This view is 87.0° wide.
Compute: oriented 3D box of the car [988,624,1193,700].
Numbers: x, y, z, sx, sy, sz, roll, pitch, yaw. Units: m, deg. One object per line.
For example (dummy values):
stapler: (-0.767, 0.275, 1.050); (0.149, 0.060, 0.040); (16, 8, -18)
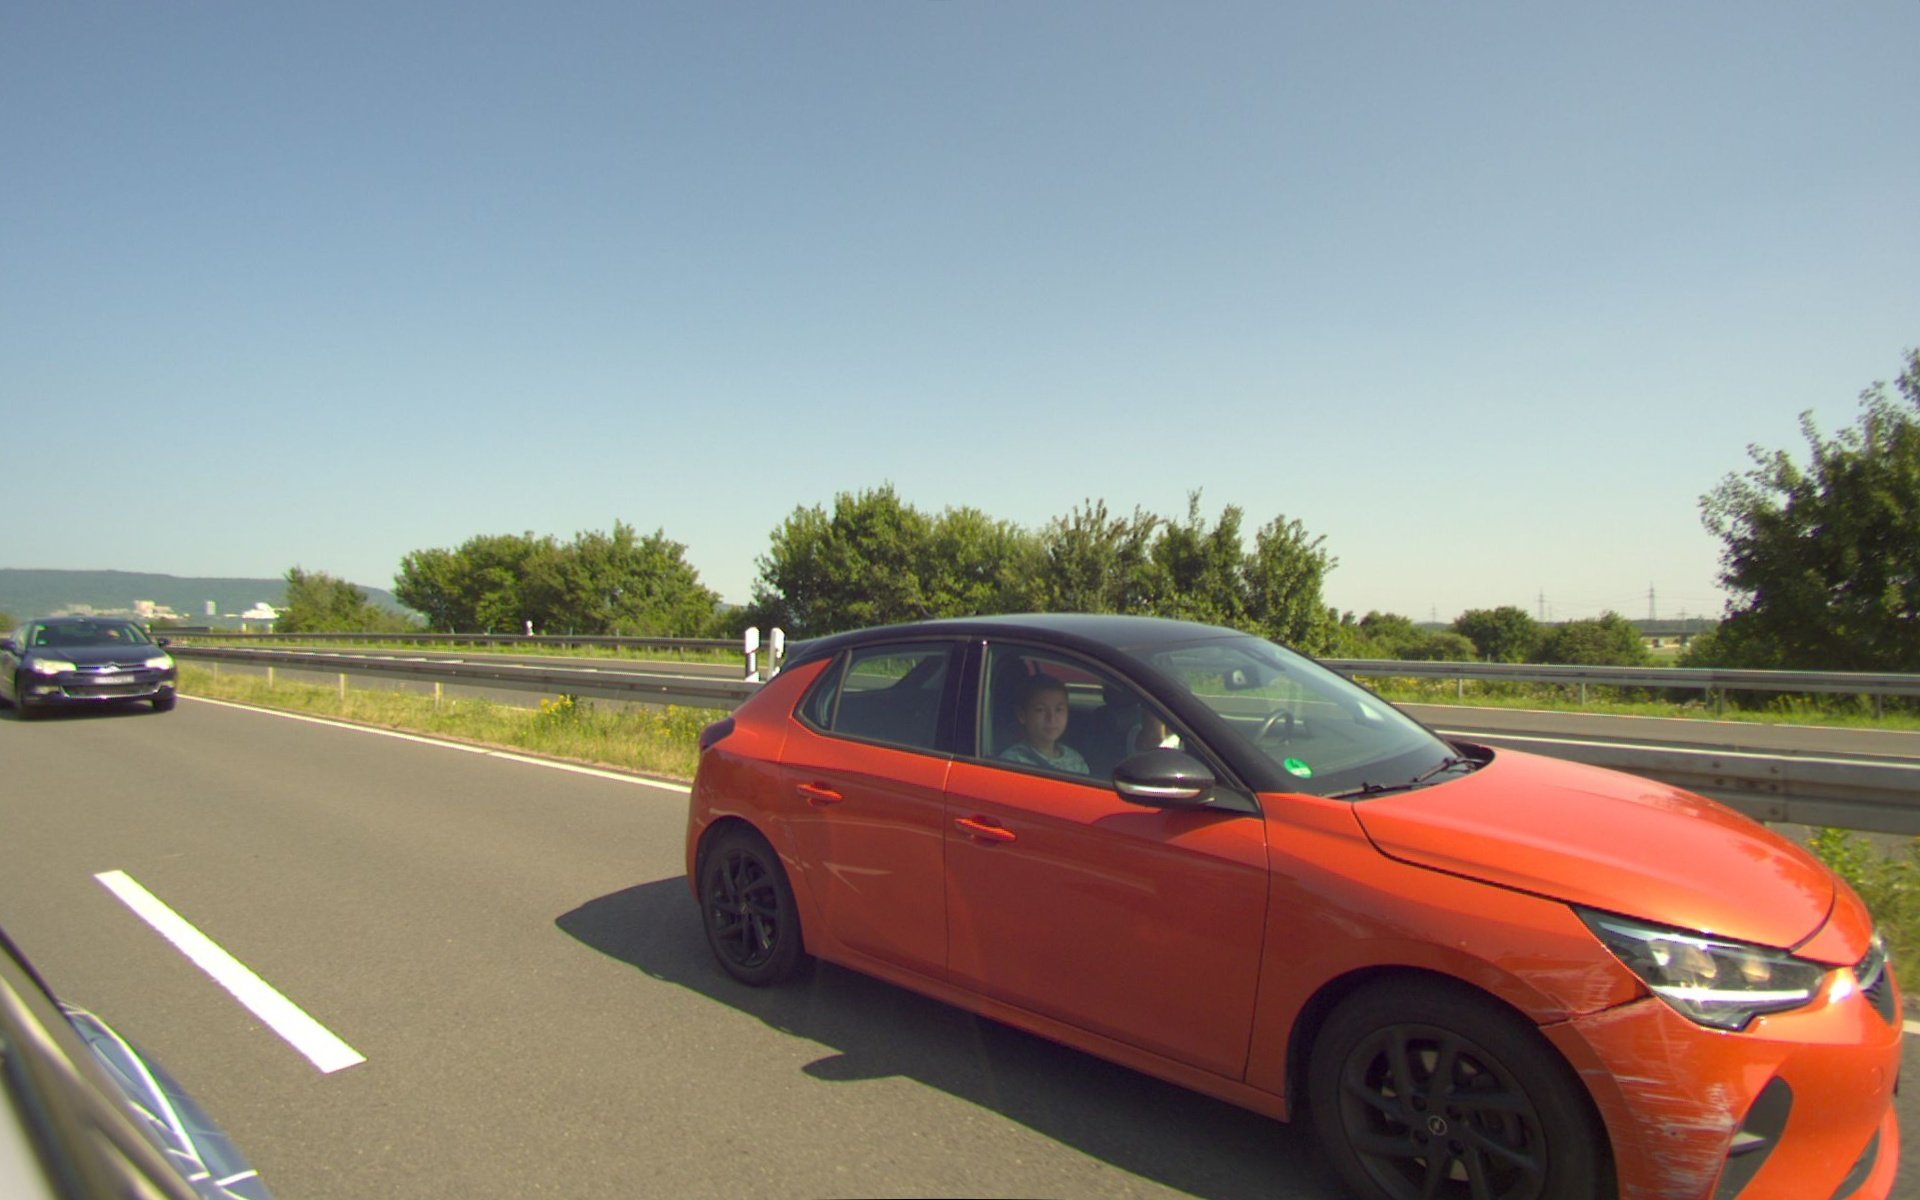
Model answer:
car: (2.700, 1.265, 21.450); (3.997, 1.457, 1.767); (-2, -3, 40)

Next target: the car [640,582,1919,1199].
car: (0.889, 0.737, 3.407); (4.409, 1.448, 1.691); (-2, -2, 41)

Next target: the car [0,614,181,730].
car: (-13.719, 1.039, 15.675); (4.372, 1.545, 1.765); (-2, -2, 40)
